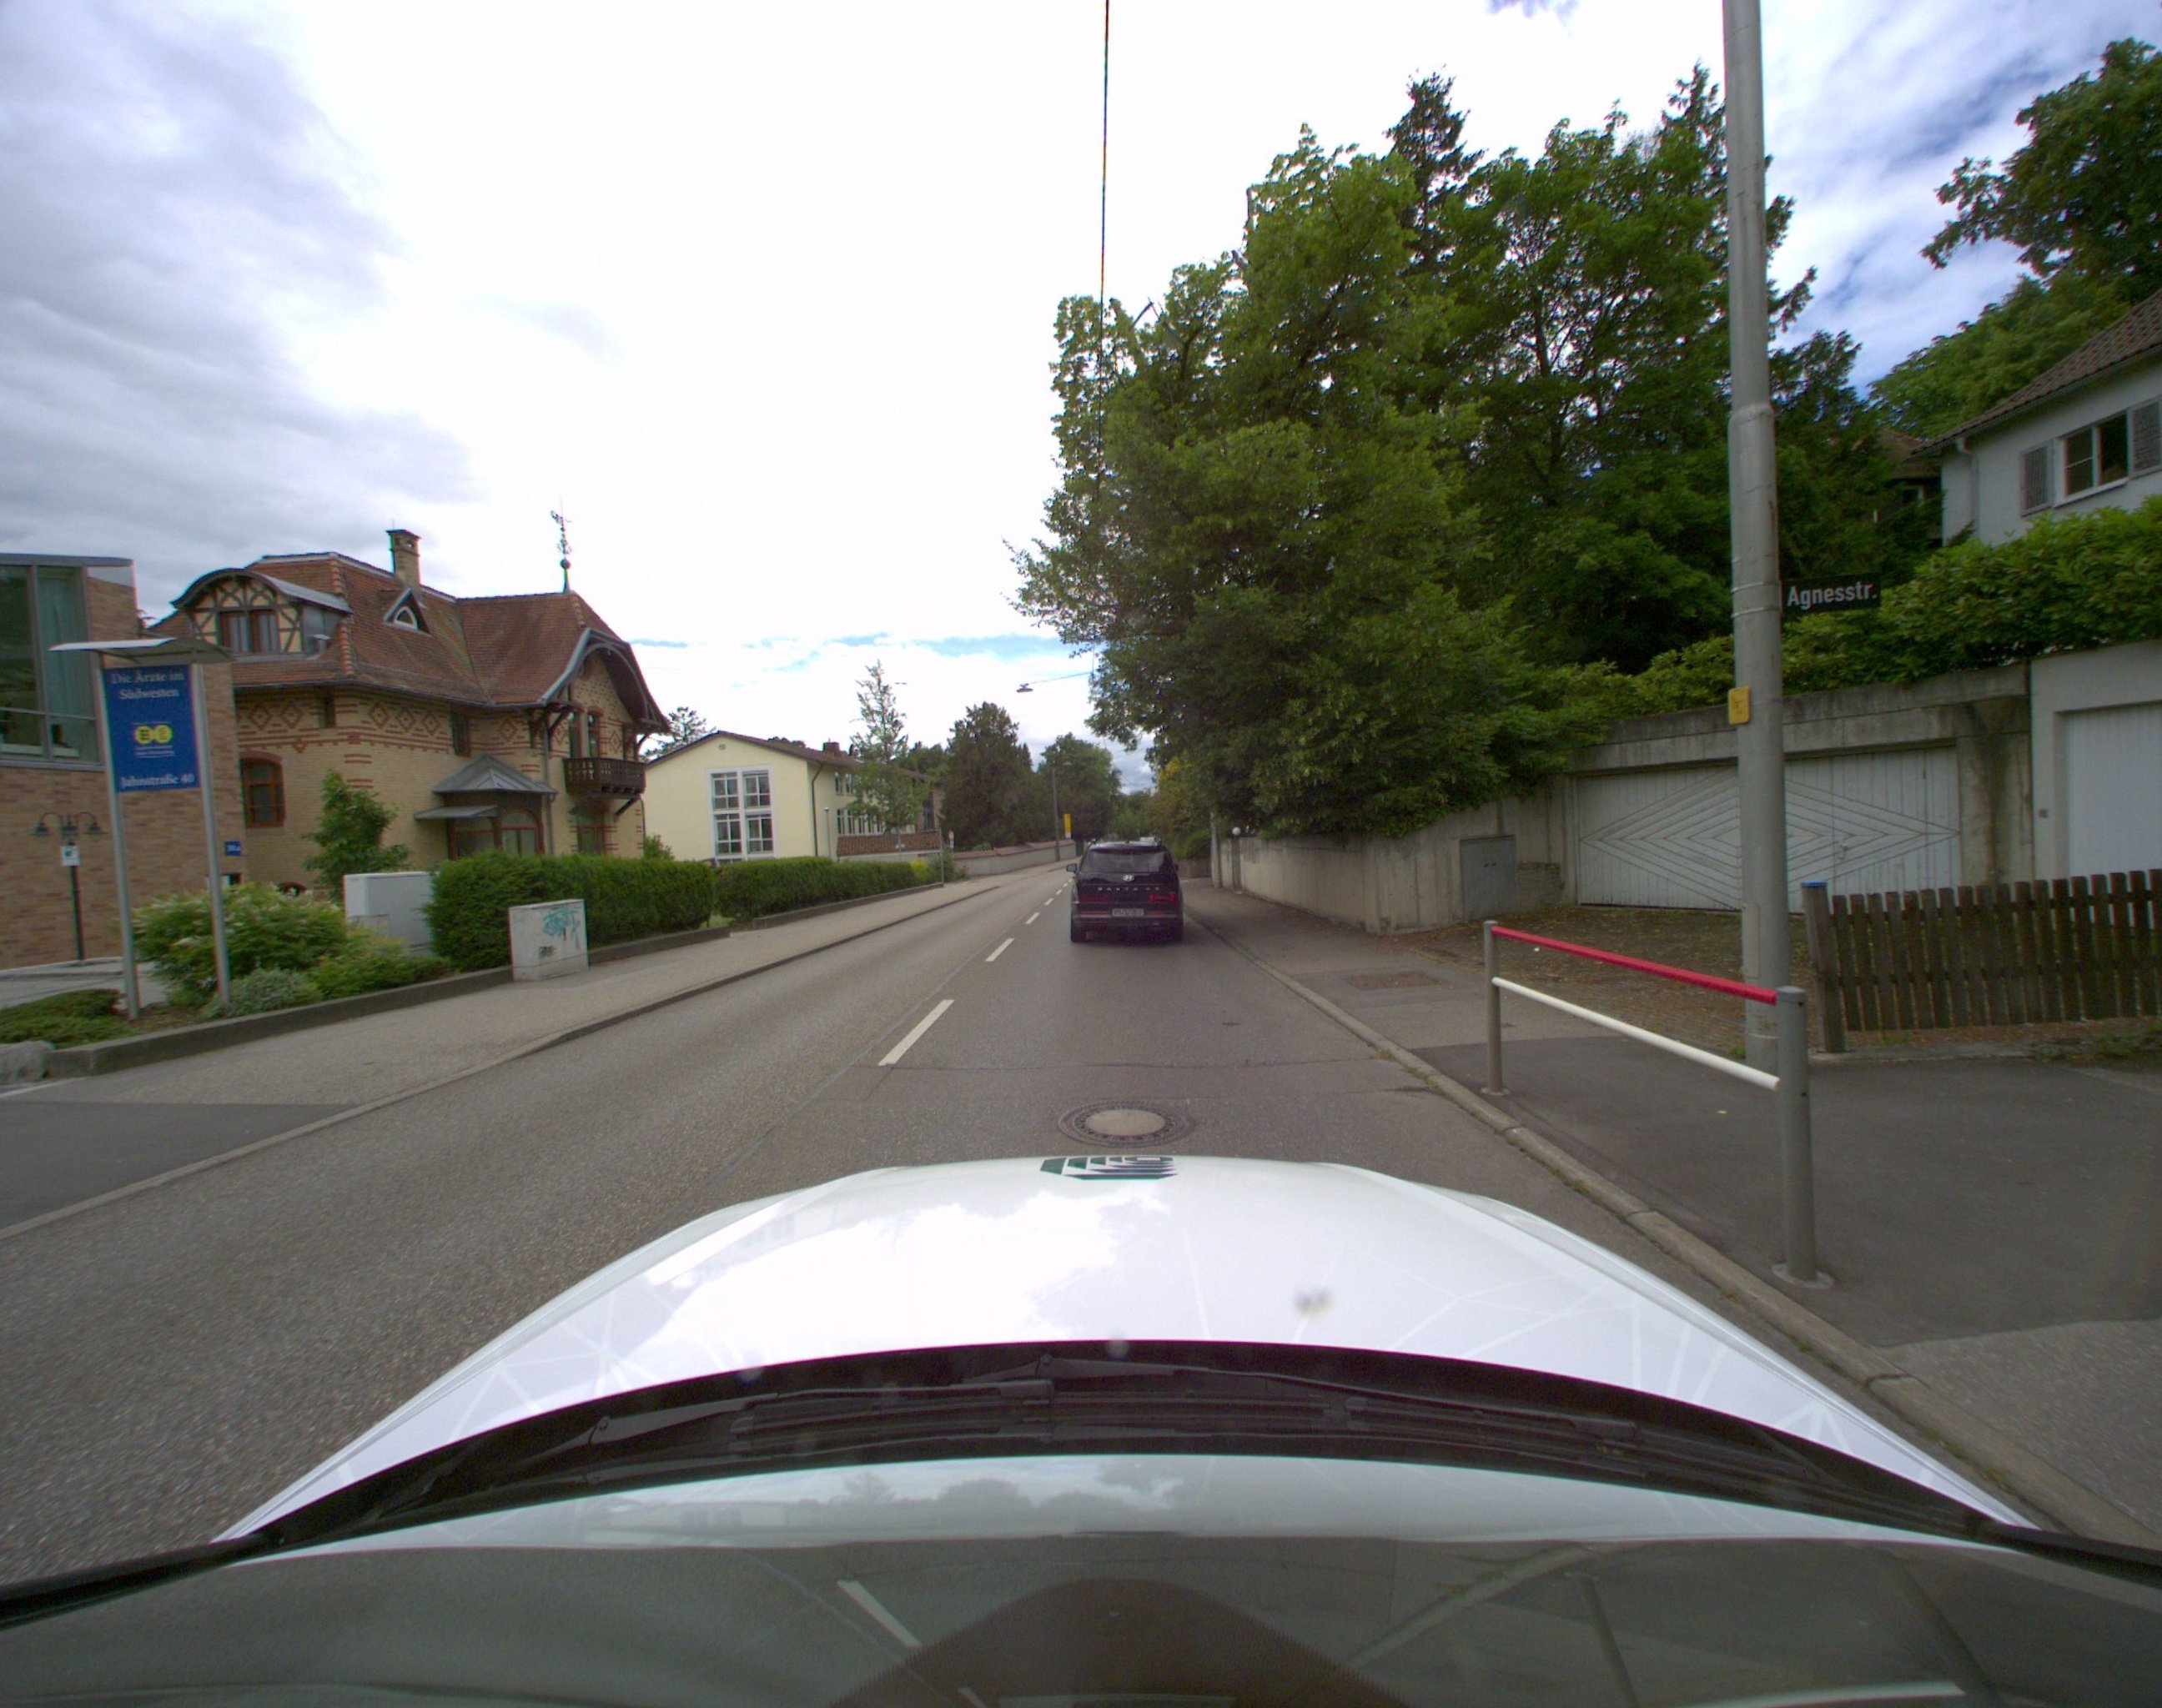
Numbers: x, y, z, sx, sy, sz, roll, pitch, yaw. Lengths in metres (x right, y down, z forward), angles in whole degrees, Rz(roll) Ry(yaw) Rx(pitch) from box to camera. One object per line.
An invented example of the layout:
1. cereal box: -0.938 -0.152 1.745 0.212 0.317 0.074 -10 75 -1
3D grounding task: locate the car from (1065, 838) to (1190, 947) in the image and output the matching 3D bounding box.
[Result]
1. car: 0.796 0.586 14.913 1.950 1.713 4.225 0 0 1

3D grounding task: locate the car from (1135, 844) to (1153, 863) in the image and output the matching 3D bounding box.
1. car: 6.108 -0.076 78.887 1.668 1.422 3.944 -3 4 5

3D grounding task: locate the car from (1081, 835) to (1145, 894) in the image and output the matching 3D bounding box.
1. car: 1.247 0.308 29.617 1.947 1.955 4.232 0 2 7

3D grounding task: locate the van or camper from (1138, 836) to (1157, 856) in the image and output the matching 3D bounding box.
1. van or camper: 7.591 -0.925 92.519 1.665 2.007 3.949 -3 2 9
